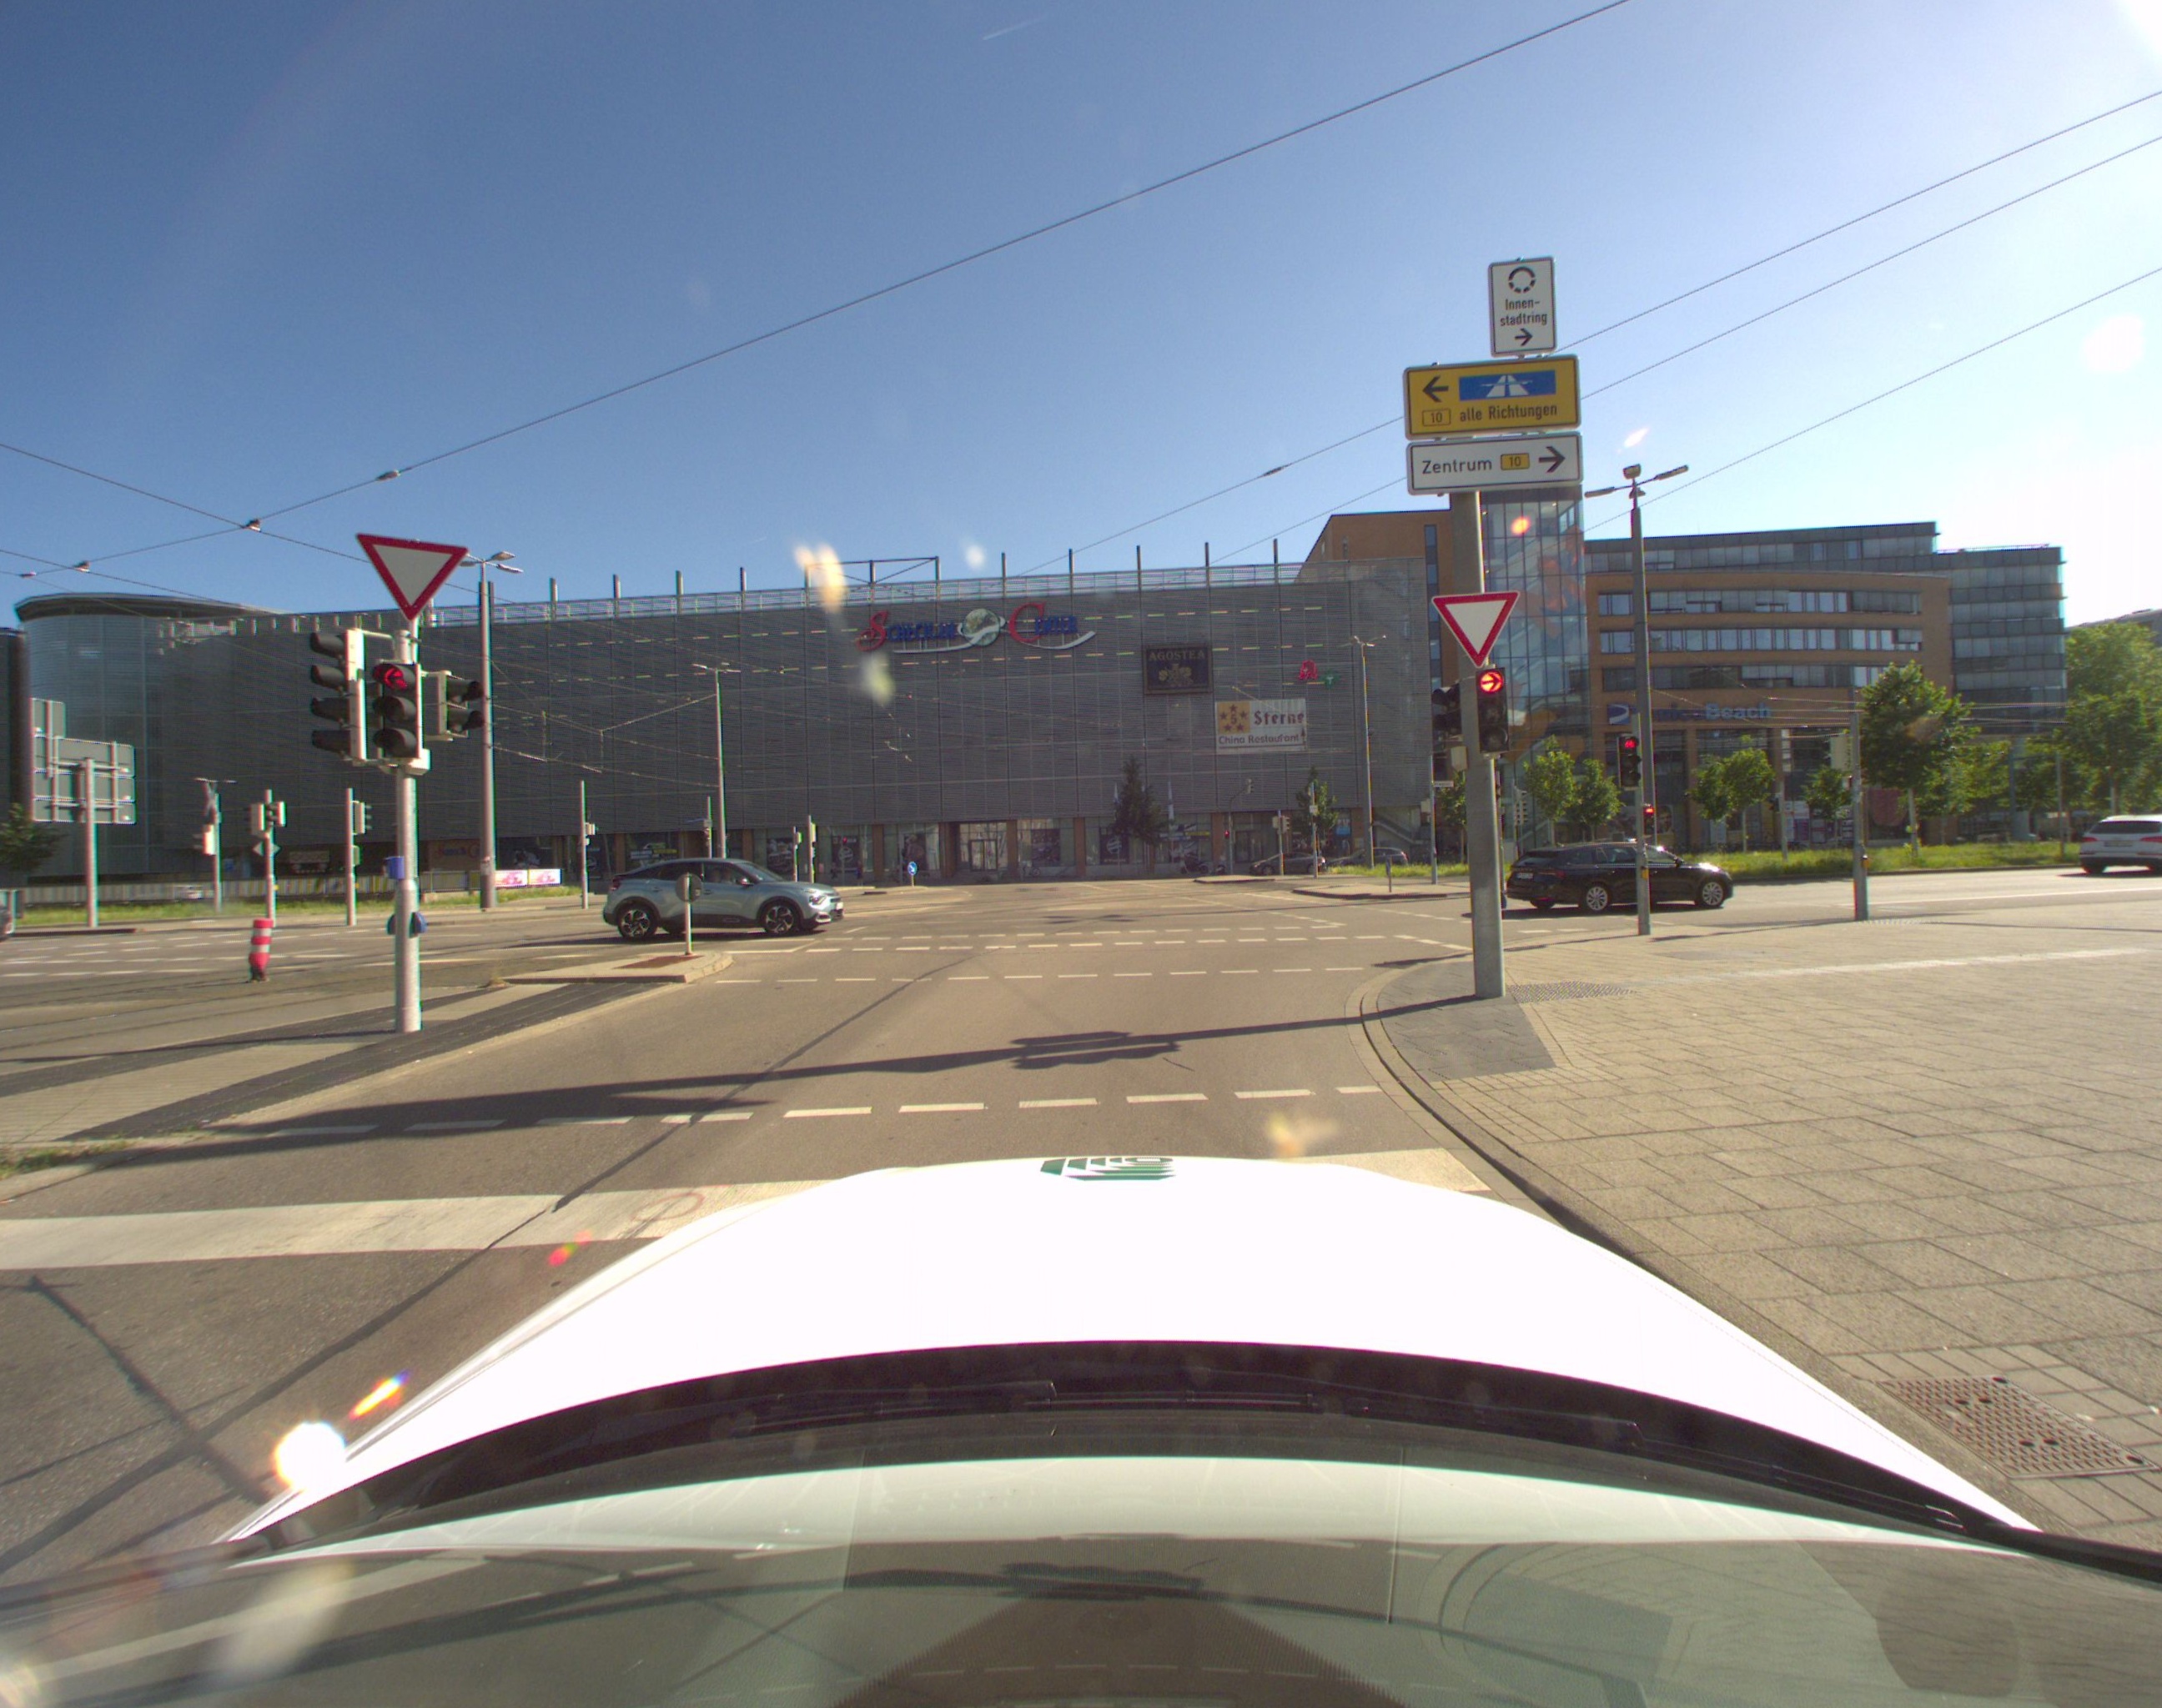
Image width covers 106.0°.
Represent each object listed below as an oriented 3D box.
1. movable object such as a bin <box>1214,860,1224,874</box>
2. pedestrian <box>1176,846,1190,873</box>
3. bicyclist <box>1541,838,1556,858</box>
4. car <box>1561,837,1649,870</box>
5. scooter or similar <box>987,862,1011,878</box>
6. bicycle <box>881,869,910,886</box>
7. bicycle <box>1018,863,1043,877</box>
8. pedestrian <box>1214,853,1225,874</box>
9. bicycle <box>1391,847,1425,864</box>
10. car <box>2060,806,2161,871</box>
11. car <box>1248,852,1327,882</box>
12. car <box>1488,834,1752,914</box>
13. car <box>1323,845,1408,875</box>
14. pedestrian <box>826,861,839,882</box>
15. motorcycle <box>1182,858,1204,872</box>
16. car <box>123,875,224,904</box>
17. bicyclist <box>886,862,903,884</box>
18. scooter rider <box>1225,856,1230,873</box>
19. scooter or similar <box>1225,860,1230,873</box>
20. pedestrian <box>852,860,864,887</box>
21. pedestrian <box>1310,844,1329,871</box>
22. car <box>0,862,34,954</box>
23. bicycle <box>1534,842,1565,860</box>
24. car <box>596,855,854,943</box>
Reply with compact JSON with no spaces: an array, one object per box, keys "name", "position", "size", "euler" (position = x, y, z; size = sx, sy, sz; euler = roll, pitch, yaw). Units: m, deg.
[{"name":"movable object such as a bin","position":[9.273,0.882,54.736],"size":[0.608,0.904,0.972],"euler":[-1,-1,12]},{"name":"pedestrian","position":[7.453,0.411,59.638],"size":[0.945,1.829,0.847],"euler":[-3,-4,7]},{"name":"bicyclist","position":[33.416,-0.458,58.242],"size":[0.750,1.386,0.566],"euler":[-2,1,1]},{"name":"car","position":[31.853,-0.035,49.573],"size":[4.321,1.863,1.837],"euler":[-1,-1,-6]},{"name":"scooter or similar","position":[-6.182,1.205,61.229],"size":[1.790,1.066,0.611],"euler":[-2,1,-6]},{"name":"bicycle","position":[-12.584,1.587,55.307],"size":[0.562,1.086,1.874],"euler":[-1,2,45]},{"name":"bicycle","position":[-3.780,1.175,60.787],"size":[1.815,0.989,0.556],"euler":[-2,1,-8]},{"name":"pedestrian","position":[9.406,0.631,55.199],"size":[0.650,1.414,0.853],"euler":[-1,-1,12]},{"name":"bicycle","position":[24.344,0.110,60.616],"size":[2.247,1.296,0.606],"euler":[0,-1,0]},{"name":"car","position":[30.541,-0.481,22.946],"size":[4.675,1.707,1.928],"euler":[-2,0,-14]},{"name":"car","position":[12.363,0.780,48.886],"size":[4.274,1.584,1.841],"euler":[2,-1,1]},{"name":"car","position":[11.503,0.396,17.542],"size":[4.663,1.462,1.829],"euler":[-2,0,-7]},{"name":"car","position":[15.884,0.348,45.617],"size":[4.132,1.470,1.841],"euler":[2,-1,0]},{"name":"pedestrian","position":[-19.037,1.334,62.379],"size":[0.654,1.601,0.597],"euler":[-1,-1,20]},{"name":"motorcycle","position":[8.314,0.831,60.593],"size":[1.630,1.004,0.448],"euler":[0,0,8]},{"name":"car","position":[-57.455,2.214,51.607],"size":[4.274,1.645,1.841],"euler":[2,-1,1]},{"name":"bicyclist","position":[-12.627,1.276,55.235],"size":[0.667,1.427,0.855],"euler":[-1,2,45]},{"name":"scooter rider","position":[9.909,0.706,54.946],"size":[0.286,1.200,0.387],"euler":[-1,-1,12]},{"name":"scooter or similar","position":[9.922,0.869,55.004],"size":[0.293,0.873,1.007],"euler":[-1,-1,12]},{"name":"pedestrian","position":[-15.201,1.313,55.459],"size":[0.695,1.797,0.727],"euler":[-3,0,-14]},{"name":"pedestrian","position":[17.093,0.232,58.352],"size":[1.007,1.828,1.037],"euler":[-3,0,5]},{"name":"car","position":[-23.185,1.112,15.465],"size":[4.442,1.791,1.710],"euler":[-2,0,1]},{"name":"bicycle","position":[33.513,-0.189,58.240],"size":[1.850,1.217,0.569],"euler":[-2,1,1]},{"name":"car","position":[-6.825,0.823,15.955],"size":[4.254,1.514,1.707],"euler":[-1,0,-3]}]
